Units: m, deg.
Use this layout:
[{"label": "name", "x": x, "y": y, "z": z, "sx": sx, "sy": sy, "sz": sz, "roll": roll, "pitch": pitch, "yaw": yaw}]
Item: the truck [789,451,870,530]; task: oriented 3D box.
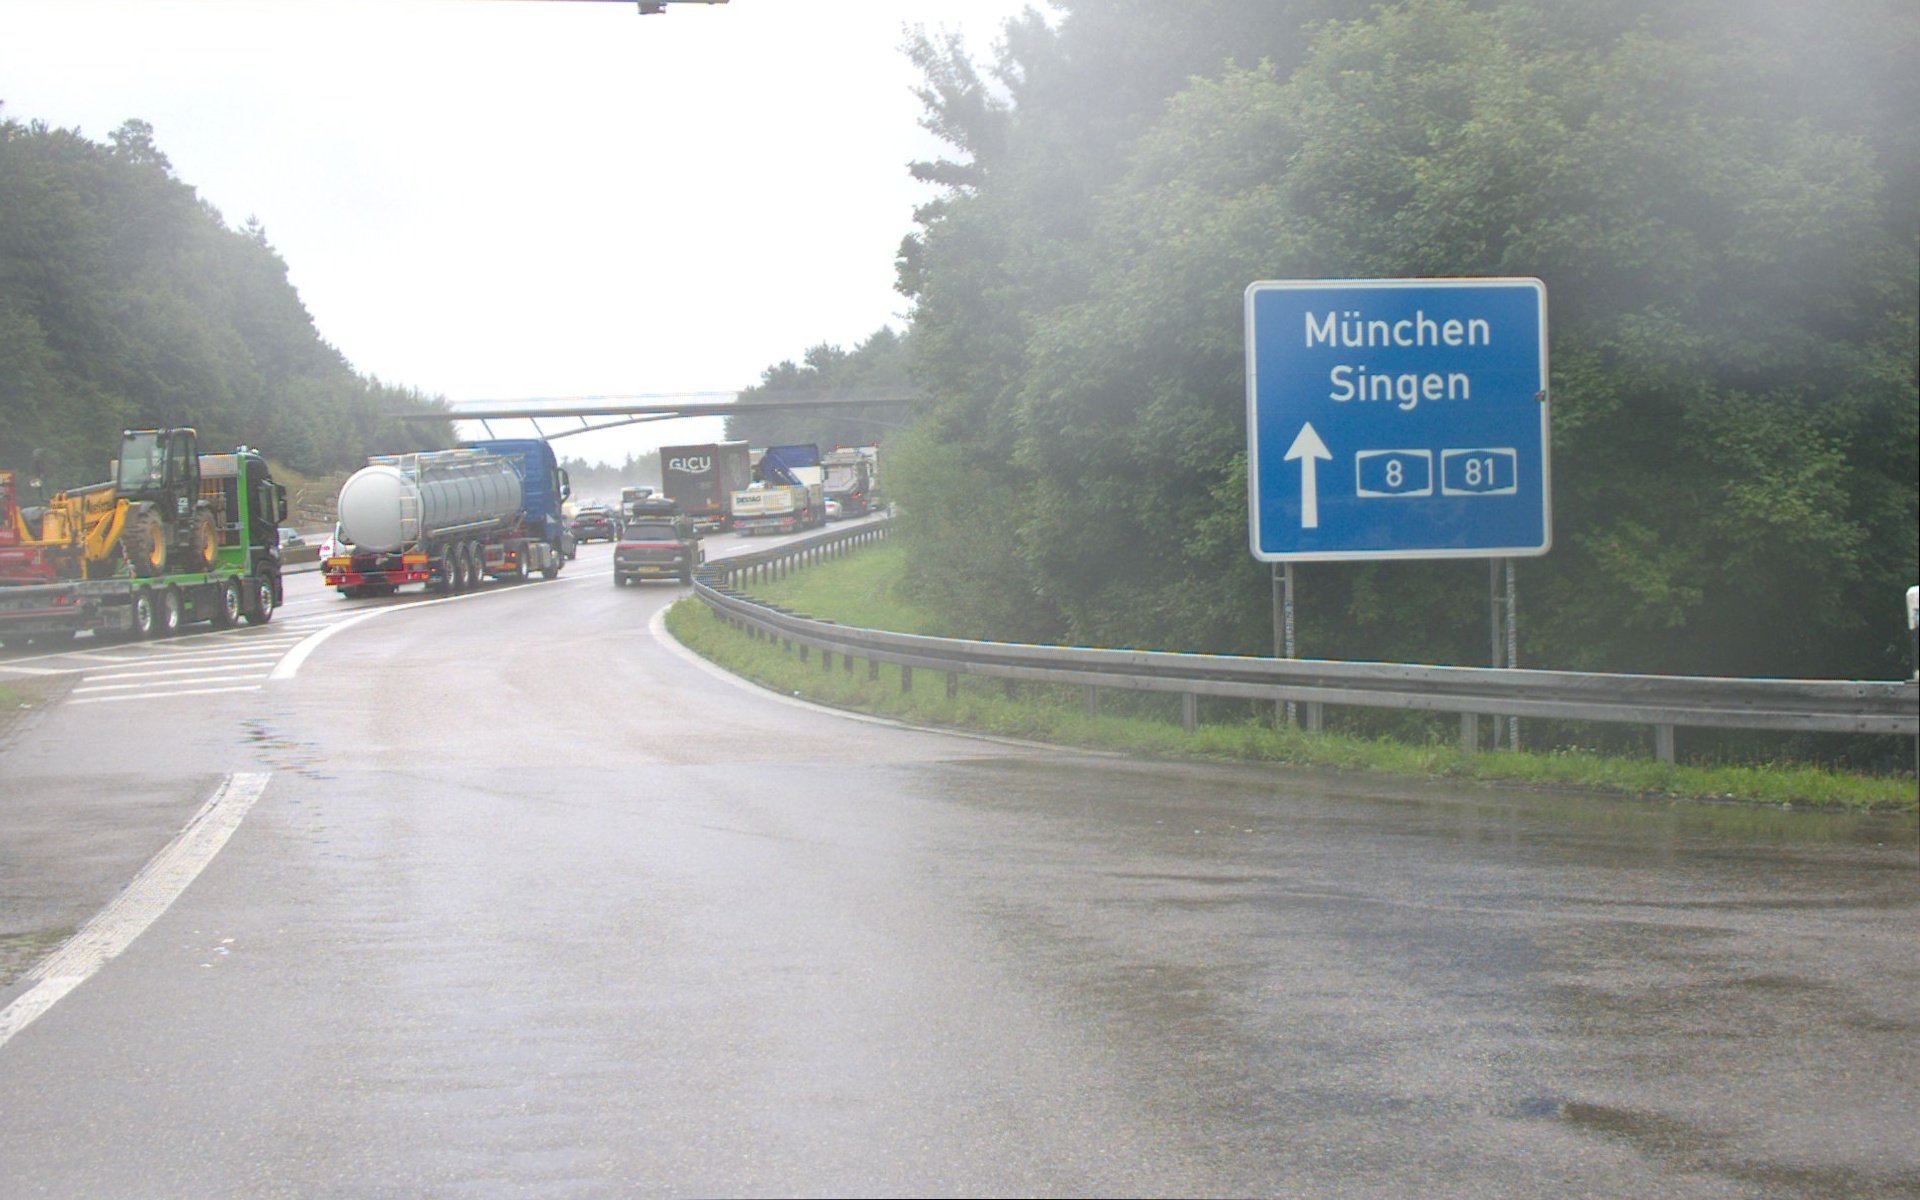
[{"label": "truck", "x": -6.985, "y": -5.872, "z": 185.704, "sx": 3.755, "sy": 3.957, "sz": 11.059, "roll": 1, "pitch": 1, "yaw": 0}]

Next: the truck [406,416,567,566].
[{"label": "truck", "x": -12.269, "y": -2.868, "z": 89.535, "sx": 2.877, "sy": 3.680, "sz": 5.056, "roll": -2, "pitch": 2, "yaw": 6}]

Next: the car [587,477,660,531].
[{"label": "car", "x": -19.428, "y": -5.523, "z": 198.861, "sx": 3.246, "sy": 2.992, "sz": 6.773, "roll": 1, "pitch": 1, "yaw": 3}]

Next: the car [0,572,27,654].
[{"label": "car", "x": -21.217, "y": 0.263, "z": 72.414, "sx": 1.786, "sy": 1.721, "sz": 4.000, "roll": 1, "pitch": 1, "yaw": 4}]

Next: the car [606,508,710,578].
[{"label": "car", "x": -7.349, "y": -1.379, "z": 83.985, "sx": 1.994, "sy": 1.630, "sz": 4.000, "roll": 1, "pitch": 1, "yaw": 2}]

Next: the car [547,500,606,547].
[{"label": "car", "x": -16.091, "y": -3.206, "z": 144.494, "sx": 1.798, "sy": 1.897, "sz": 4.000, "roll": -2, "pitch": 1, "yaw": 3}]

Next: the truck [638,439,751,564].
[{"label": "truck", "x": -12.060, "y": -4.427, "z": 157.378, "sx": 3.755, "sy": 5.480, "sz": 10.172, "roll": 1, "pitch": 1, "yaw": 3}]

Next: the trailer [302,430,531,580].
[{"label": "trailer", "x": -12.933, "y": -2.364, "z": 82.851, "sx": 2.874, "sy": 3.277, "sz": 10.077, "roll": -2, "pitch": 2, "yaw": 6}]

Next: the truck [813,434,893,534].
[{"label": "truck", "x": -6.435, "y": -6.963, "z": 208.033, "sx": 4.336, "sy": 5.744, "sz": 9.731, "roll": 1, "pitch": 1, "yaw": 1}]

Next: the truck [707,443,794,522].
[{"label": "truck", "x": -11.770, "y": -6.580, "z": 194.443, "sx": 3.577, "sy": 4.081, "sz": 10.879, "roll": -2, "pitch": 0, "yaw": 3}]

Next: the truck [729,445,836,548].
[{"label": "truck", "x": -7.506, "y": -4.473, "z": 147.221, "sx": 3.600, "sy": 4.090, "sz": 11.561, "roll": -3, "pitch": 2, "yaw": 1}]

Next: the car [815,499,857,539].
[{"label": "car", "x": -6.223, "y": -4.063, "z": 172.652, "sx": 1.798, "sy": 1.897, "sz": 4.000, "roll": -2, "pitch": 1, "yaw": 2}]

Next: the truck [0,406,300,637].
[{"label": "truck", "x": -14.775, "y": -1.411, "z": 60.212, "sx": 2.831, "sy": 3.576, "sz": 11.796, "roll": -3, "pitch": 2, "yaw": 6}]

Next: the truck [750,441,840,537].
[{"label": "truck", "x": -7.738, "y": -5.164, "z": 162.721, "sx": 3.507, "sy": 4.253, "sz": 10.603, "roll": 1, "pitch": 1, "yaw": 1}]
